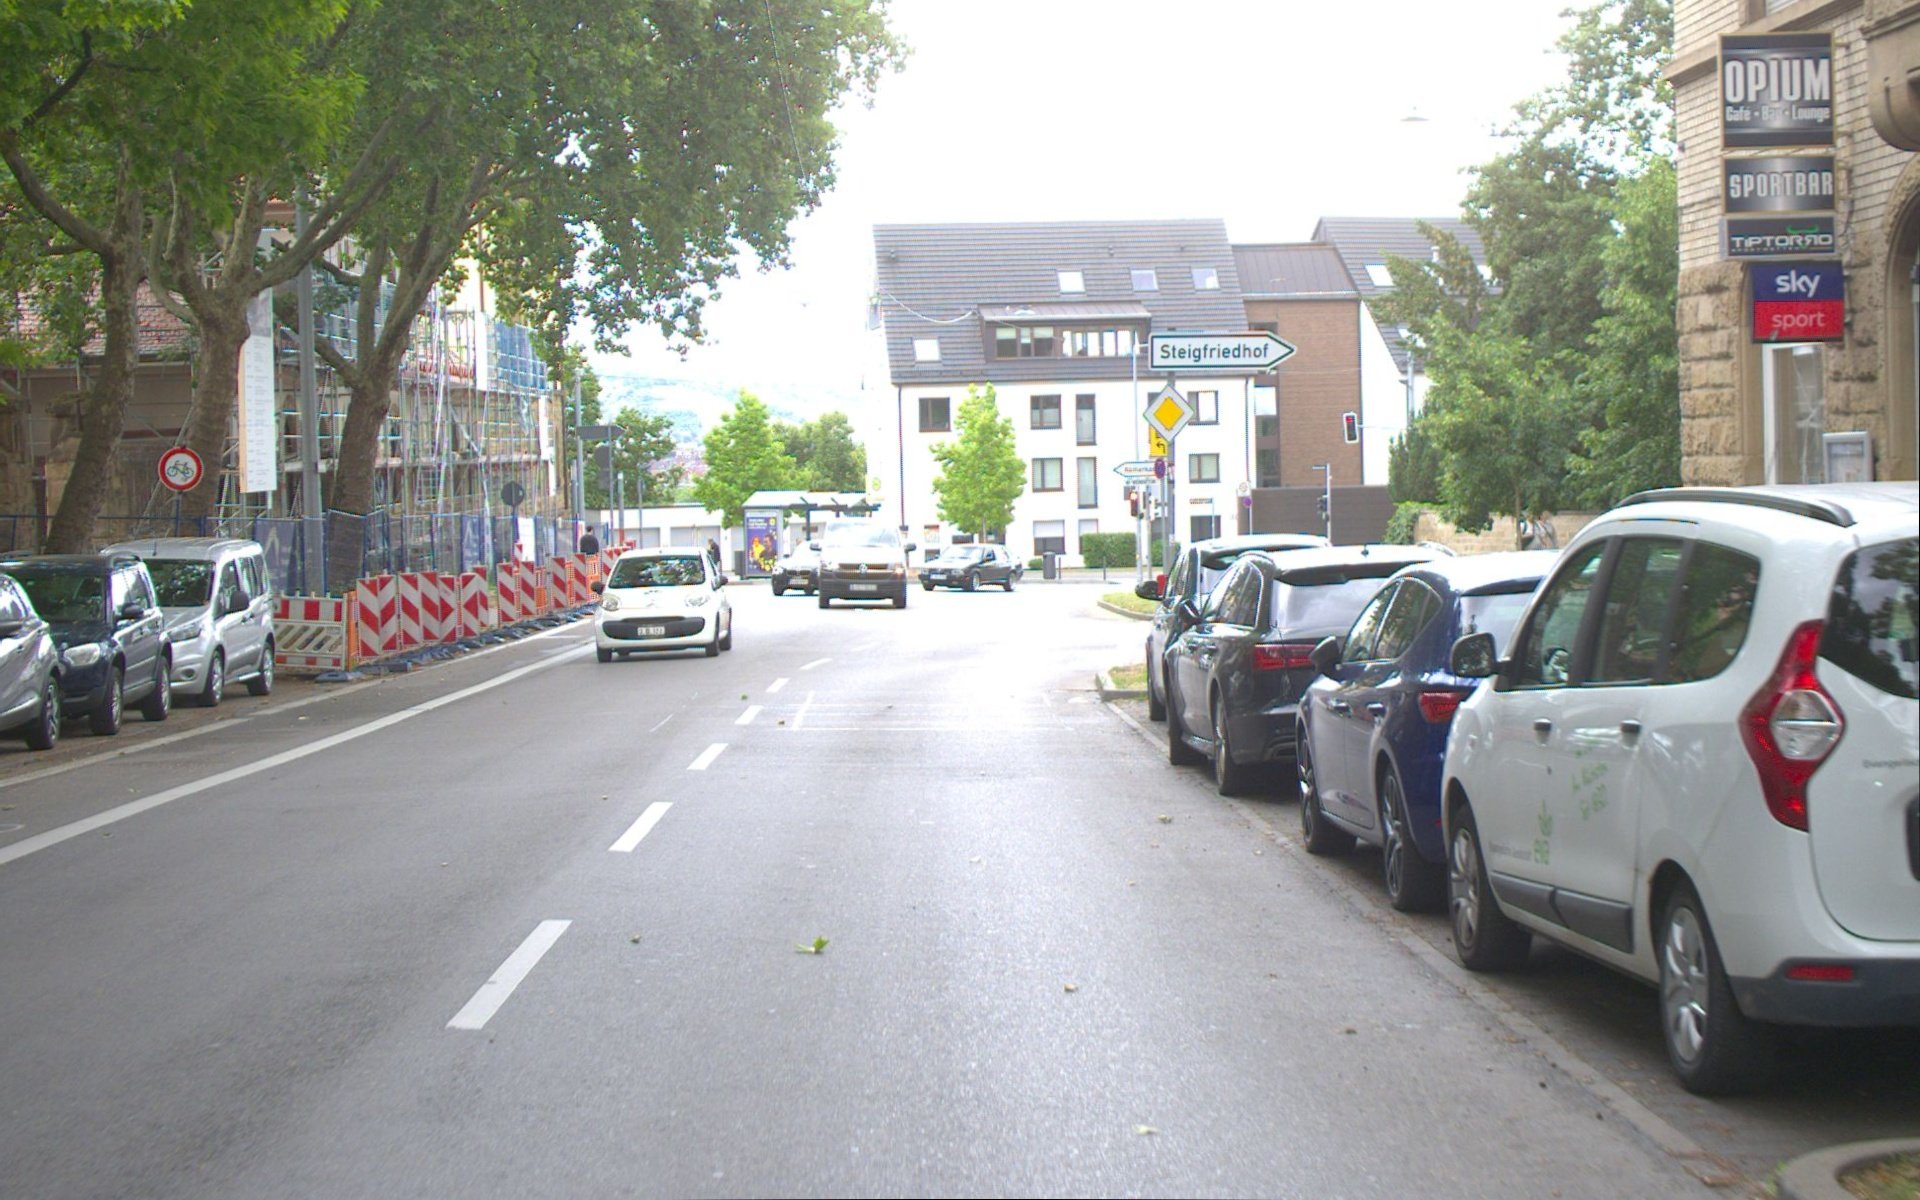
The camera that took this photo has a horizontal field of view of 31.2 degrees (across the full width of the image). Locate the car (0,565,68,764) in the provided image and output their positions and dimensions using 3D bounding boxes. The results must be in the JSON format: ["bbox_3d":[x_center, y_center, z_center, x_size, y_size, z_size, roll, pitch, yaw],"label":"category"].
[{"bbox_3d":[-8.468,0.500,27.982,1.594,1.568,4.088,1,1,-4],"label":"car"}]

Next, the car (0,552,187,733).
[{"bbox_3d":[-8.551,0.364,33.112,1.508,1.626,4.116,1,1,-3],"label":"car"}]

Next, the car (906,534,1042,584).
[{"bbox_3d":[0.418,-1.212,100.512,3.687,1.421,1.704,-1,1,-36],"label":"car"}]

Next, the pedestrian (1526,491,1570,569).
[{"bbox_3d":[12.227,-1.456,71.492,0.579,1.579,0.575,-5,2,-29],"label":"pedestrian"}]

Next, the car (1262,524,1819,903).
[{"bbox_3d":[2.457,0.399,15.563,1.605,1.392,4.276,-3,1,-2],"label":"car"}]

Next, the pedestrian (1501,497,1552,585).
[{"bbox_3d":[11.285,-1.182,68.442,0.710,1.728,0.661,1,0,-33],"label":"pedestrian"}]

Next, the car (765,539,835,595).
[{"bbox_3d":[-4.162,-0.880,89.823,1.699,1.421,4.250,0,1,-1],"label":"car"}]

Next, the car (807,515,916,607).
[{"bbox_3d":[-2.087,-0.849,74.507,2.205,1.924,5.240,0,1,0],"label":"car"}]

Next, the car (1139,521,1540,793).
[{"bbox_3d":[2.285,0.274,21.919,1.738,1.458,4.776,-3,1,-3],"label":"car"}]

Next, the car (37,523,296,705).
[{"bbox_3d":[-8.777,0.102,38.399,1.834,1.870,4.417,-2,1,0],"label":"car"}]

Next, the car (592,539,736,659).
[{"bbox_3d":[-3.952,-0.046,46.291,1.583,1.459,3.652,-4,1,-1],"label":"car"}]

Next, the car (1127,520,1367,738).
[{"bbox_3d":[2.271,0.184,27.951,1.565,1.604,3.654,-2,1,-1],"label":"car"}]

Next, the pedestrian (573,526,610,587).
[{"bbox_3d":[-10.494,-1.239,98.006,0.923,1.714,0.798,1,0,2],"label":"pedestrian"}]

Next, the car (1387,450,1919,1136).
[{"bbox_3d":[2.637,0.396,10.721,1.678,1.657,4.545,-3,1,-4],"label":"car"}]
